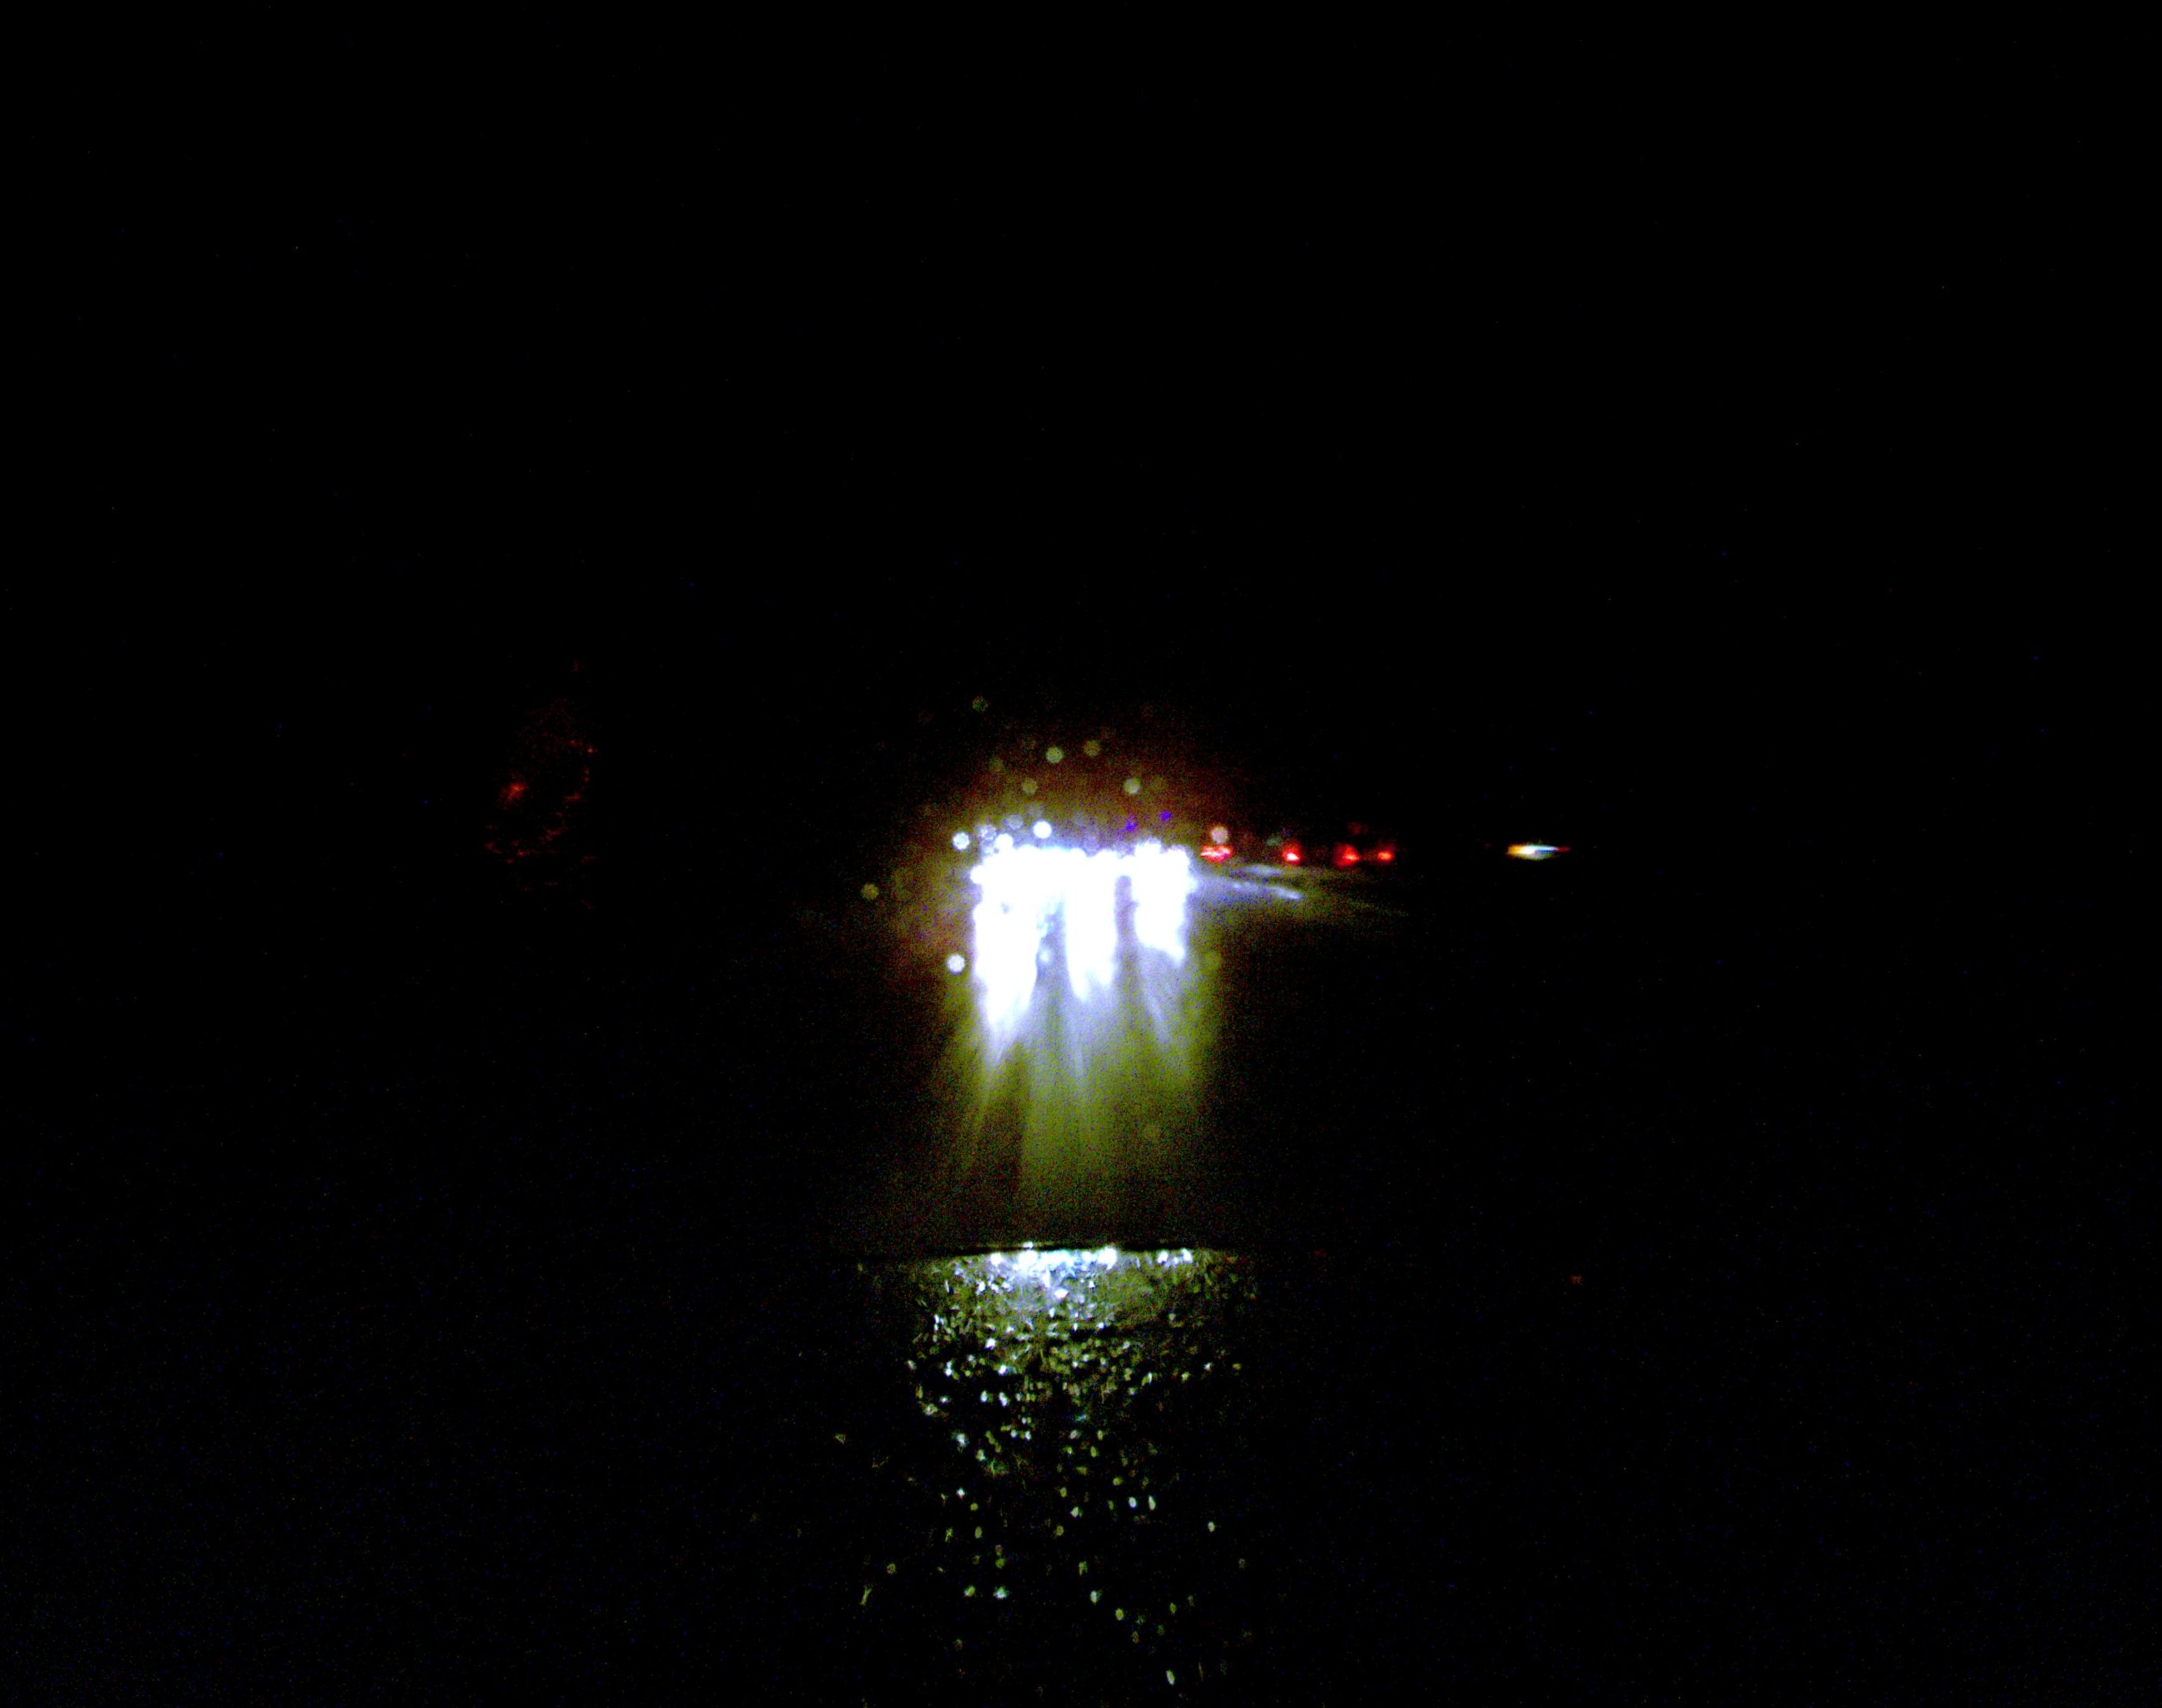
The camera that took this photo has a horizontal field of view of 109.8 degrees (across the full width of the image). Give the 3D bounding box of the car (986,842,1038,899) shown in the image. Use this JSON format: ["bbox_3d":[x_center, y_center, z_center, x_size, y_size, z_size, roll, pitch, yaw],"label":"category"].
[{"bbox_3d":[-2.700,0.619,30.610,1.754,2.092,4.463,-1,0,-2],"label":"car"}]

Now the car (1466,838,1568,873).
[{"bbox_3d":[18.718,0.061,32.886,1.844,1.386,4.166,-2,0,-3],"label":"car"}]

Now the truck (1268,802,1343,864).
[{"bbox_3d":[16.267,-1.453,55.534,3.373,4.149,6.463,-3,0,-1],"label":"truck"}]

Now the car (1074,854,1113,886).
[{"bbox_3d":[0.641,0.826,41.298,1.848,1.532,3.999,-2,1,-2],"label":"car"}]

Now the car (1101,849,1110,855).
[{"bbox_3d":[6.509,-0.504,204.305,1.999,1.487,3.998,-2,1,-3],"label":"car"}]

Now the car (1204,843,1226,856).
[{"bbox_3d":[15.471,-0.541,87.780,1.710,1.488,3.717,-2,1,-2],"label":"car"}]

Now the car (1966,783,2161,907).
[{"bbox_3d":[17.553,-0.174,11.816,1.896,1.899,4.843,-2,1,-1],"label":"car"}]

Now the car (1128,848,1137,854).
[{"bbox_3d":[12.954,-0.702,190.447,1.681,1.488,3.751,-2,1,-3],"label":"car"}]

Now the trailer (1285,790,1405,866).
[{"bbox_3d":[16.331,-1.461,48.350,3.363,4.149,11.719,-2,0,0],"label":"trailer"}]

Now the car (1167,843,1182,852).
[{"bbox_3d":[16.381,-1.115,133.282,1.999,1.487,3.999,-2,1,-1],"label":"car"}]

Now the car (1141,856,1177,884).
[{"bbox_3d":[4.510,0.914,44.300,1.654,1.566,3.849,-1,-1,-1],"label":"car"}]
